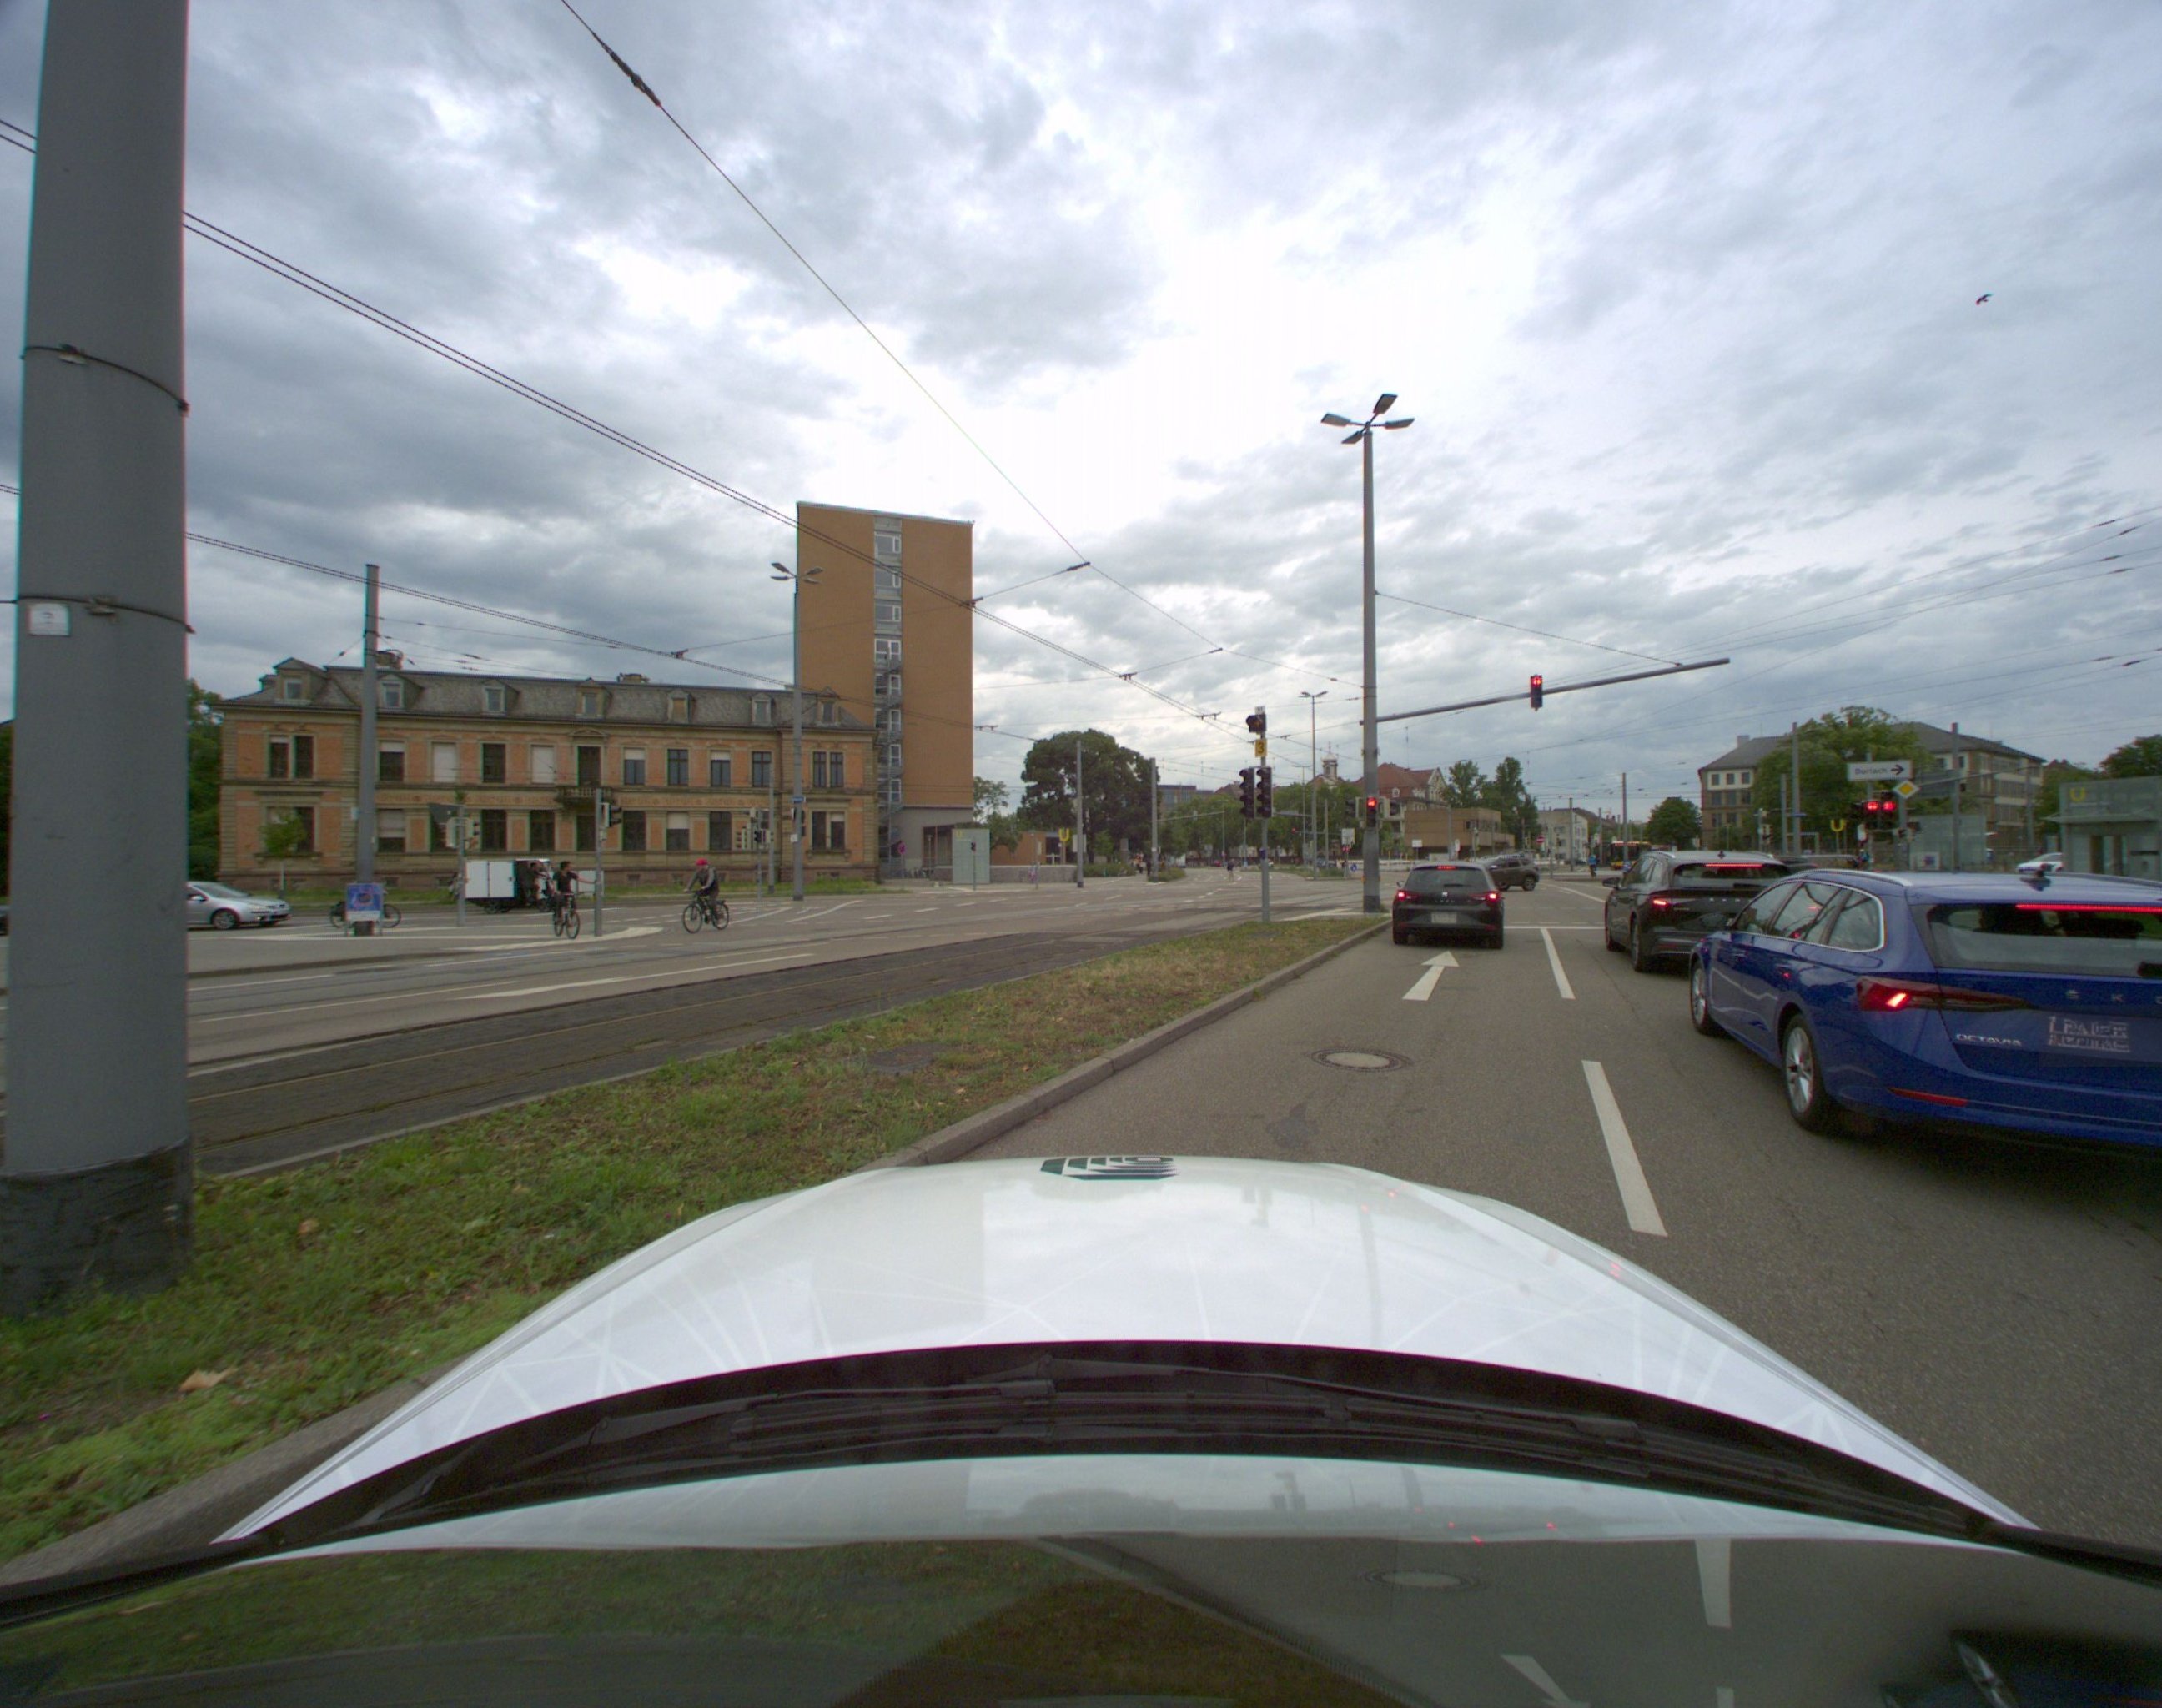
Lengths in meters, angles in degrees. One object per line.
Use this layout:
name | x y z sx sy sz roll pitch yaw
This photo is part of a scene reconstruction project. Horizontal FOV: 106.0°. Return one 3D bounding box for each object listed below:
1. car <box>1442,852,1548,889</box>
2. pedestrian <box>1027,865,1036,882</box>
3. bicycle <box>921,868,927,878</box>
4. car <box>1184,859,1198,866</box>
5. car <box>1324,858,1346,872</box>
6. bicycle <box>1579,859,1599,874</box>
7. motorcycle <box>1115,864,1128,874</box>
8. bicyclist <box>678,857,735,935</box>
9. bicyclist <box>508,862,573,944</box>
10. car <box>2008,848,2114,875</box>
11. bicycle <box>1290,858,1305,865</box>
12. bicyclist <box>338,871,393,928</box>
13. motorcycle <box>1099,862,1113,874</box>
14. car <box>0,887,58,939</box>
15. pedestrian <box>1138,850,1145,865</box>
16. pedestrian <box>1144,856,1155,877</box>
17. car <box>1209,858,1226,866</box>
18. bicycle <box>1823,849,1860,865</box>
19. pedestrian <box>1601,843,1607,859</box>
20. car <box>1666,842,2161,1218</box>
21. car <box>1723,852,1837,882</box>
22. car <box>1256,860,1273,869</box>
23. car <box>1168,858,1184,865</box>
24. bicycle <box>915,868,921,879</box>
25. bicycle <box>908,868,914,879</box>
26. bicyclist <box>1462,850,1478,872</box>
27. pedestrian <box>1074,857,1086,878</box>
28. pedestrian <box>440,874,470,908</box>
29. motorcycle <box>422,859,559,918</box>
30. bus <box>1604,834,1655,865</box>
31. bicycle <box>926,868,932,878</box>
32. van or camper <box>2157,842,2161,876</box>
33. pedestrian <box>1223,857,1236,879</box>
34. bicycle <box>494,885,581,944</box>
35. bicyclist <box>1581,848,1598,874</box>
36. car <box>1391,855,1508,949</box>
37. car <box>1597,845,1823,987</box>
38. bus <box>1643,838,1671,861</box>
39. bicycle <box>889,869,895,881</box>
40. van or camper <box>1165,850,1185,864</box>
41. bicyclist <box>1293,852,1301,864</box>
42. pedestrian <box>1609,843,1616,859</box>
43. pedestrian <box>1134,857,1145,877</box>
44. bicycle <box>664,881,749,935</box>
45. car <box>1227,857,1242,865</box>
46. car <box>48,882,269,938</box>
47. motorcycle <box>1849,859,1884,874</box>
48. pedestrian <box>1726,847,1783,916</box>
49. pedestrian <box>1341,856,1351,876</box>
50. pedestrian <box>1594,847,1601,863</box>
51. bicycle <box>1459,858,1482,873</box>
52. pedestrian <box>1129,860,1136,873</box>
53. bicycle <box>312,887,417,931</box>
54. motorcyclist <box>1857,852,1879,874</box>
car | 19.334 0.746 38.066 4.218 1.640 1.796 -1 -1 -12
pedestrian | -3.897 1.523 63.571 0.574 1.336 0.495 0 -1 -23
bicycle | -16.075 1.947 83.216 0.481 1.049 1.421 -1 -1 -15
car | 24.833 1.947 183.812 1.780 1.464 3.978 -1 0 -16
car | 32.868 1.421 105.652 1.983 1.684 4.007 -1 -2 6
bicycle | 36.995 0.908 59.366 0.858 1.104 2.314 -1 0 23
motorcycle | 4.456 1.646 89.650 0.505 1.111 1.755 -1 -1 40
bicyclist | -9.496 1.045 20.680 0.824 1.892 1.052 -2 -1 9
bicyclist | -12.385 1.098 18.678 1.016 1.798 0.821 -1 1 30
car | 55.179 0.426 45.891 3.978 1.464 1.773 0 -2 -4
bicycle | 38.770 1.374 145.721 2.740 1.179 0.932 -1 -1 -34
bicyclist | -21.383 1.341 24.353 0.915 1.623 0.851 -1 -1 -13
motorcycle | 2.713 1.555 88.375 1.472 1.268 0.508 -1 -1 -19
car | -33.010 1.739 23.603 4.127 1.449 1.692 -1 0 -8
pedestrian | 7.976 0.521 107.794 0.792 1.982 0.879 0 -2 -7
pedestrian | 6.684 1.211 79.366 0.923 2.014 1.014 -1 -2 8
car | 27.969 1.598 167.338 1.781 1.464 3.976 -1 0 -18
bicycle | 66.008 0.279 70.671 2.240 1.331 0.711 -2 -2 35
pedestrian | 63.358 -0.388 98.641 0.615 1.918 0.715 -1 -1 31
car | 5.278 0.710 5.239 1.763 1.488 4.492 -1 -1 27
car | 34.634 0.644 40.398 4.370 1.396 1.696 -1 0 -5
car | 31.506 1.817 140.008 1.773 1.464 3.993 -1 0 -5
car | 19.231 1.534 164.889 1.780 1.464 3.978 -1 0 -16
bicycle | -16.634 1.974 83.000 0.509 1.049 1.421 -1 -1 -15
bicycle | -17.276 1.979 82.819 0.571 1.106 1.421 -1 -1 -15
bicyclist | 31.343 0.561 65.567 0.878 1.732 0.896 -1 0 6
pedestrian | -0.086 1.299 79.879 1.015 2.014 0.848 -1 -1 8
pedestrian | -33.659 1.963 43.828 1.129 1.763 0.752 0 -1 -25
motorcycle | -21.619 1.217 29.950 3.681 2.014 1.688 -1 0 -14
bus | 58.834 -0.494 87.177 2.932 3.123 11.609 -1 -1 42
bicycle | -15.564 1.927 83.358 0.481 1.049 1.421 -1 -1 -15
van or camper | 66.814 0.261 47.633 5.129 2.014 2.192 0 -2 -4
pedestrian | 12.995 1.242 71.411 1.023 1.934 0.701 -1 -1 2
bicycle | -12.504 1.385 18.734 1.974 1.242 0.821 -3 0 29
bicyclist | 37.211 0.507 59.593 0.863 1.851 1.053 -1 -1 22
car | 6.623 0.751 14.742 1.689 1.449 3.833 -1 0 24
car | 8.623 0.701 11.601 1.760 1.597 4.536 -1 0 27
bus | 86.247 -0.649 121.886 2.628 3.283 11.064 -1 -1 39
bicycle | -19.067 2.121 82.261 0.571 1.106 1.421 -1 -1 -15
van or camper | 21.288 0.627 184.743 2.396 3.124 5.465 -1 0 -21
bicyclist | 38.731 0.711 145.727 0.982 2.014 0.930 -1 -1 -34
pedestrian | 63.438 -0.352 97.251 0.615 1.918 0.703 -1 -1 37
pedestrian | 5.752 1.266 79.846 0.923 1.948 0.915 -1 -1 9
bicycle | -9.482 1.342 20.735 0.819 1.208 2.240 -2 -1 10
car | 30.043 1.358 159.246 1.774 1.464 3.990 -1 0 -8
car | -27.472 1.646 24.401 4.147 1.454 1.756 -1 0 -10
motorcycle | 61.115 0.963 63.334 2.131 1.139 0.743 -1 -1 -5
pedestrian | 18.958 0.766 22.926 1.103 1.907 0.732 0 -1 -15
pedestrian | 21.337 0.968 65.670 0.722 1.542 0.419 -1 -1 15
pedestrian | 61.859 0.150 97.494 0.615 1.918 0.703 -1 -1 37
bicycle | 31.342 0.903 65.568 0.887 1.178 2.306 -1 0 6
pedestrian | 7.872 1.886 124.365 0.873 1.982 0.798 -1 -2 9
bicycle | -21.382 1.637 24.341 2.193 1.208 0.853 -1 -1 -13
motorcyclist | 61.240 0.697 63.344 0.976 1.650 0.748 -1 -1 -5
